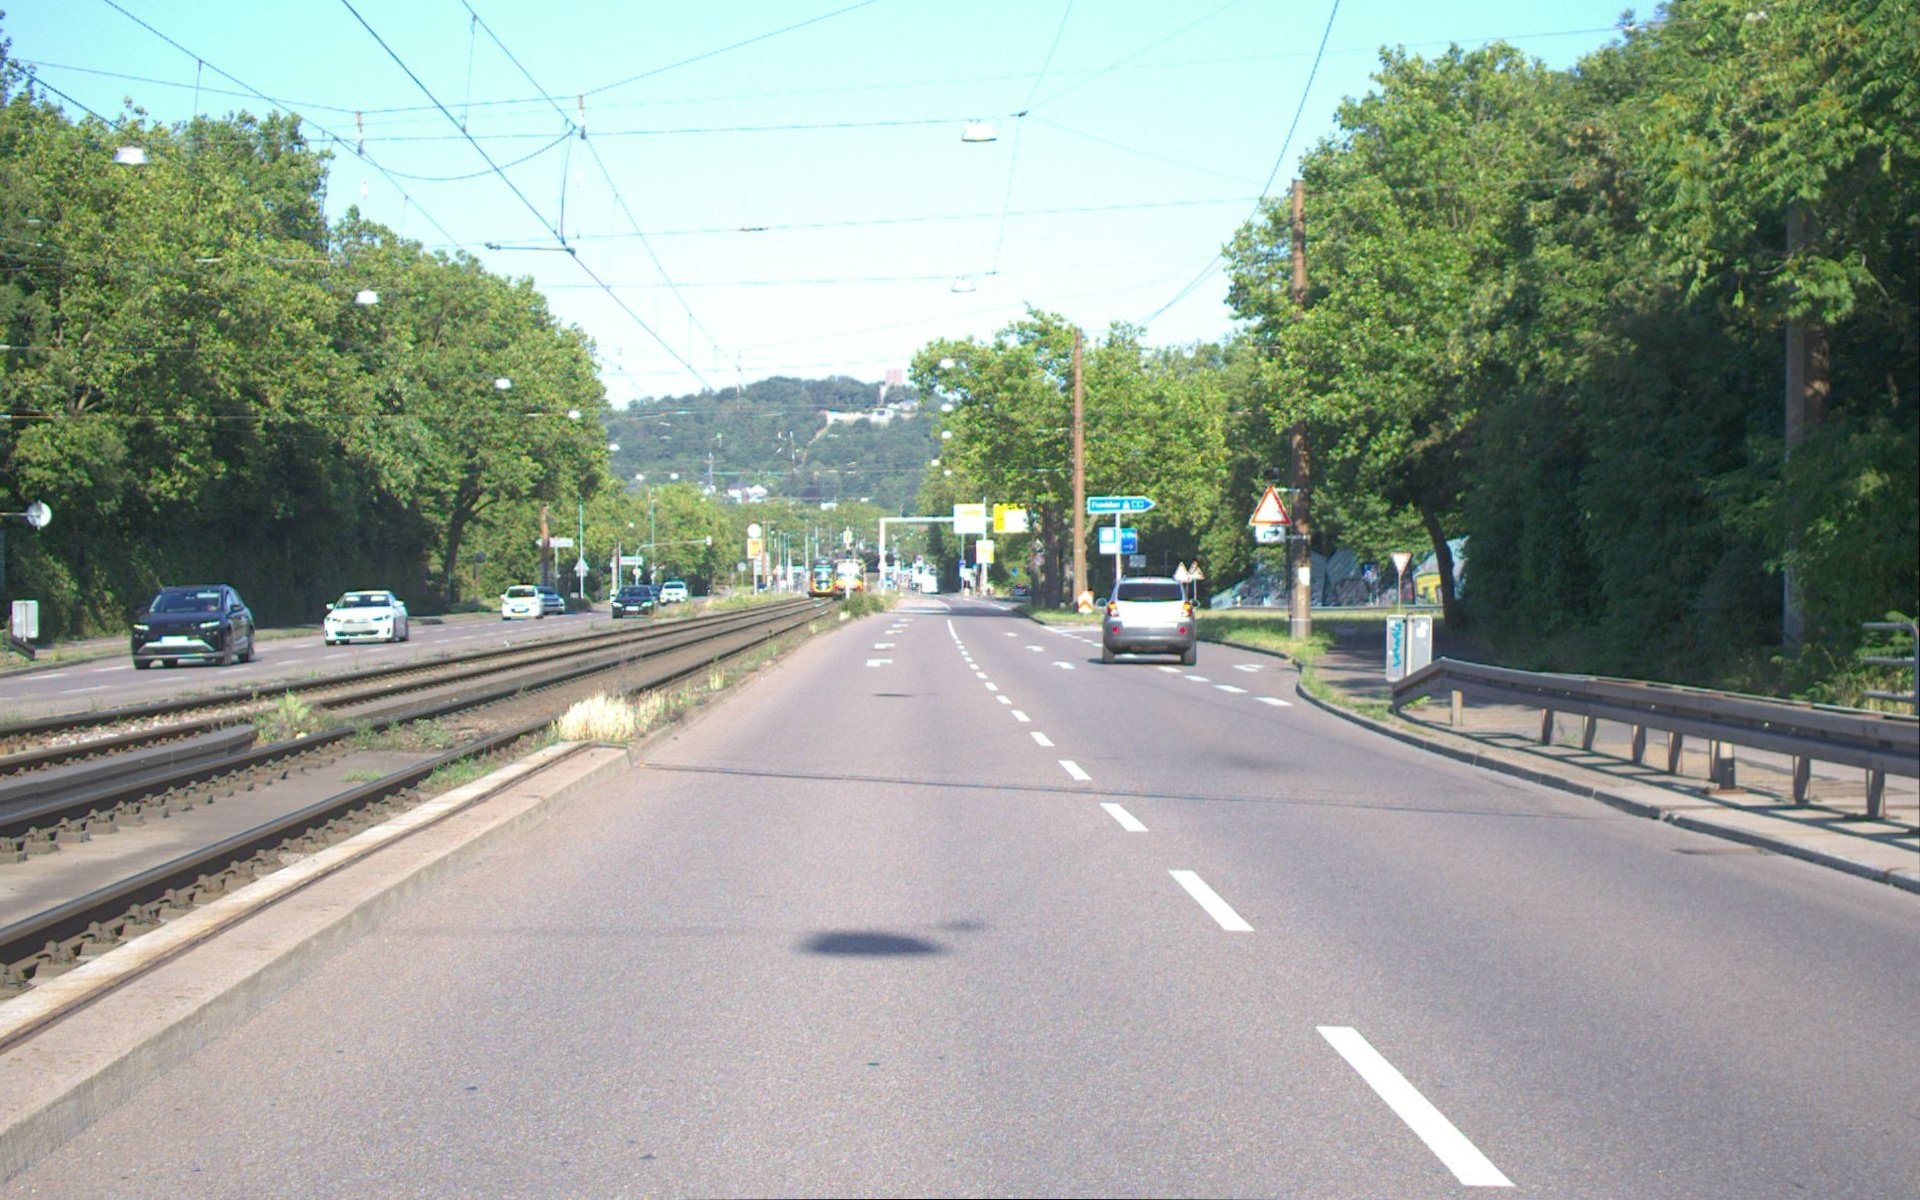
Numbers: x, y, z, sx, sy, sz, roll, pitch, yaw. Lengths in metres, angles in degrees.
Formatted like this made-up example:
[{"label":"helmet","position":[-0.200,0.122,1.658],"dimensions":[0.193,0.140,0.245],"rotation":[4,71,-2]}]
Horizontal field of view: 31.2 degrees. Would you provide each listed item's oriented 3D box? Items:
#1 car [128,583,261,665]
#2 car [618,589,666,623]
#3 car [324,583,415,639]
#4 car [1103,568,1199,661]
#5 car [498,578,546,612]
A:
[{"label":"car","position":[-15.345,0.467,69.125],"dimensions":[1.709,1.575,4.801],"rotation":[-1,0,-2]},{"label":"car","position":[-14.098,0.260,152.462],"dimensions":[1.657,1.428,4.501],"rotation":[-2,0,0]},{"label":"car","position":[-16.019,0.286,93.500],"dimensions":[1.754,1.409,4.878],"rotation":[-2,0,-2]},{"label":"car","position":[3.794,0.279,67.996],"dimensions":[1.809,1.767,3.862],"rotation":[1,0,4]},{"label":"car","position":[-20.704,-0.238,162.724],"dimensions":[1.691,1.550,4.191],"rotation":[-2,0,0]}]
